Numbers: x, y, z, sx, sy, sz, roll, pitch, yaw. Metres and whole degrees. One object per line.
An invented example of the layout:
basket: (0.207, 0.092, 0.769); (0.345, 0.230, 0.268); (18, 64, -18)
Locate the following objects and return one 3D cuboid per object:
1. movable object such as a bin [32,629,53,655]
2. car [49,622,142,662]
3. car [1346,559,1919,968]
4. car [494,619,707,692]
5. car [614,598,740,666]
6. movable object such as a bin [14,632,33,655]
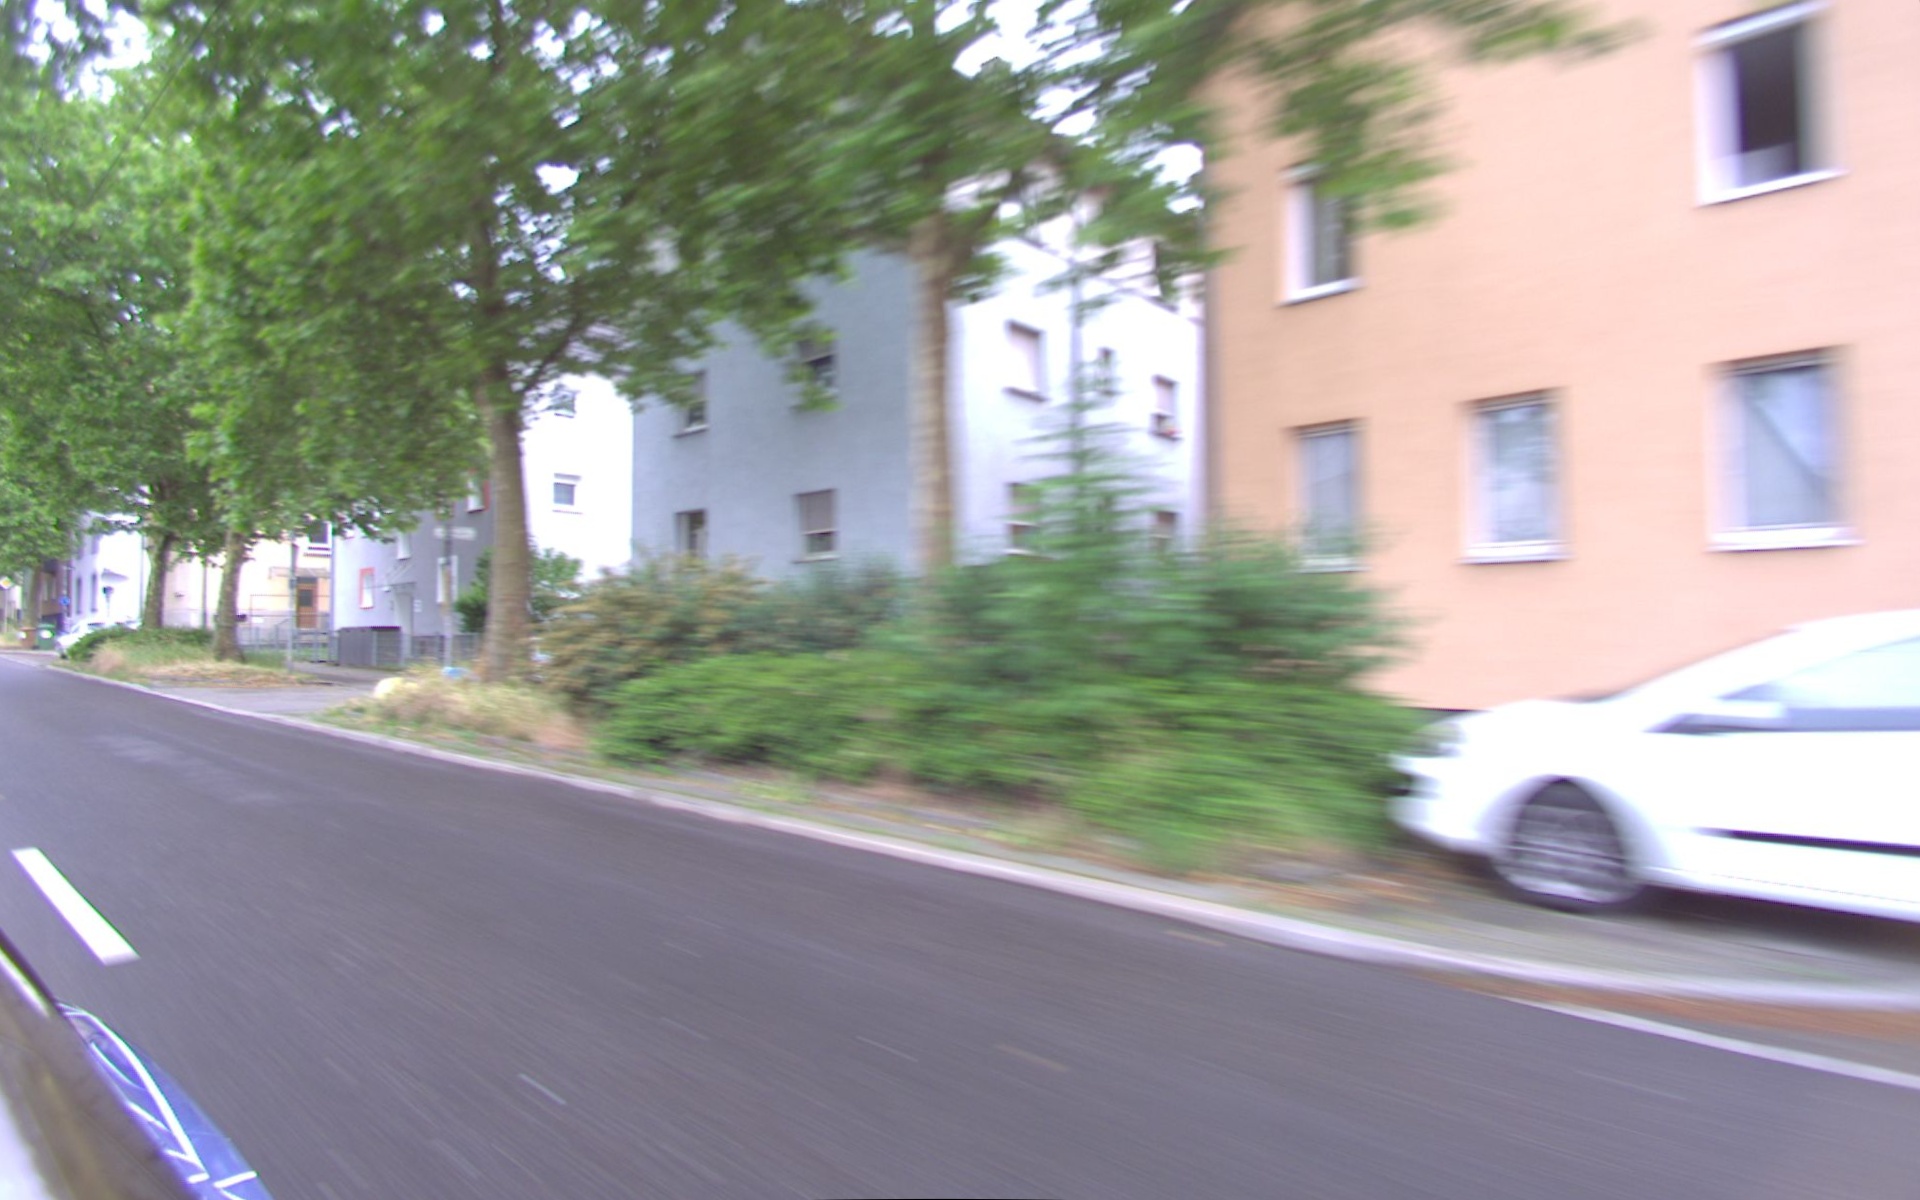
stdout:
movable object such as a bin: (-38.230, 1.739, 42.173); (0.762, 1.065, 0.529); (0, -2, 41)
car: (-31.287, 1.479, 36.595); (4.533, 1.336, 1.738); (-1, -1, 38)
car: (4.245, 0.629, 4.542); (4.349, 1.563, 1.767); (-2, -2, 41)
car: (-8.714, 1.273, 24.856); (1.869, 1.488, 4.614); (0, 1, 41)
car: (-8.824, 0.901, 31.330); (1.862, 1.934, 4.557); (-1, 1, -44)
movable object such as a bin: (-38.592, 1.784, 41.701); (0.581, 0.935, 0.506); (0, -2, 41)
